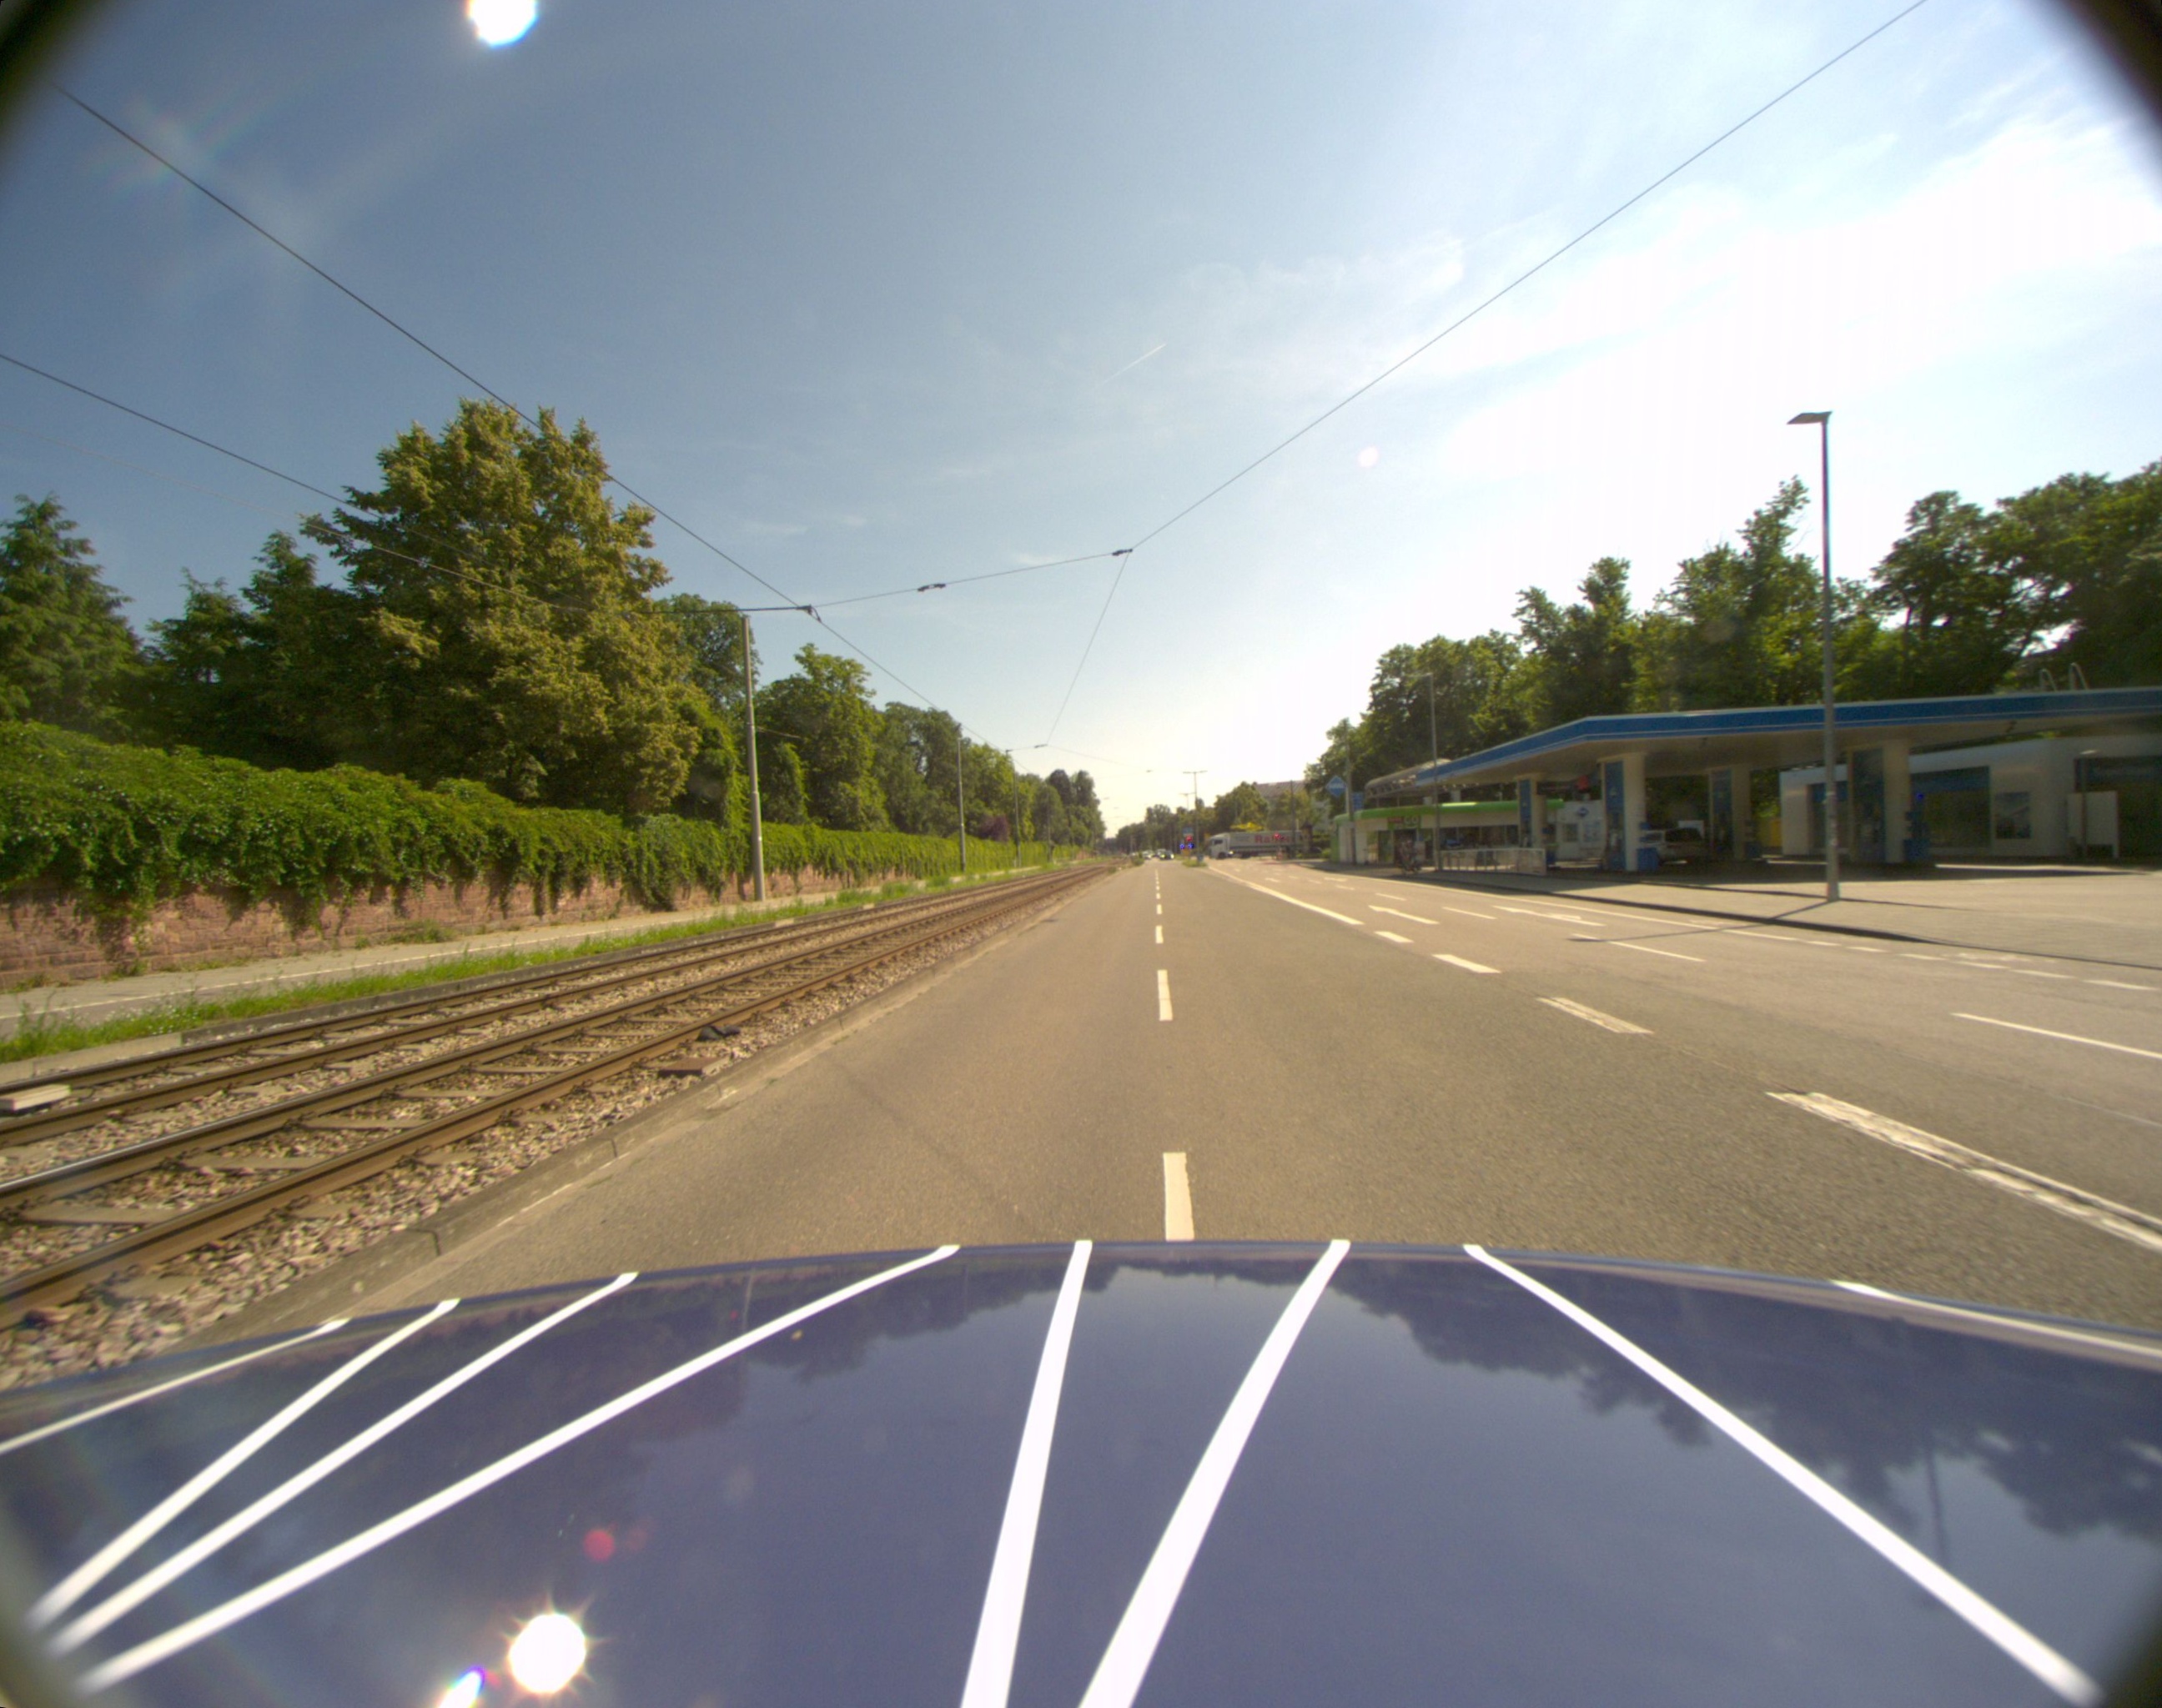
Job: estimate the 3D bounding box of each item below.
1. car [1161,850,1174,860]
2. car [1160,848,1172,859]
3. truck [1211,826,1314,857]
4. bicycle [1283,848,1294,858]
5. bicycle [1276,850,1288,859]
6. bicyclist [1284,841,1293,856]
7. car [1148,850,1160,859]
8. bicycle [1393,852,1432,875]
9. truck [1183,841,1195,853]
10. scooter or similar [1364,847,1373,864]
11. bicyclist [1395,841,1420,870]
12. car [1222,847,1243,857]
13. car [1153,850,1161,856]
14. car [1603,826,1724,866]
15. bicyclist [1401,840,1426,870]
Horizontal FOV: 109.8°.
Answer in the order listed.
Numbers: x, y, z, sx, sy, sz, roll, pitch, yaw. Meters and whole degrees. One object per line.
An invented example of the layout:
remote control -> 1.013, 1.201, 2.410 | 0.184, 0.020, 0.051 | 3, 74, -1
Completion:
car -> 14.351, 0.208, 126.222 | 1.755, 1.573, 4.505 | -2, 0, 1
car -> 19.729, -0.166, 176.481 | 2.264, 2.336, 5.231 | -3, 0, 4
truck -> 26.590, -1.862, 111.694 | 14.290, 3.984, 2.855 | -2, 1, 3
bicycle -> 24.569, -0.090, 89.843 | 0.939, 1.168, 2.212 | -2, 0, 8
bicycle -> 23.318, 0.032, 88.186 | 0.752, 1.051, 2.075 | -2, 0, -3
bicyclist -> 24.521, -0.611, 89.690 | 0.837, 1.664, 0.827 | -3, -1, 6
car -> 14.068, 0.144, 146.569 | 1.930, 1.593, 4.469 | -3, 0, 4
bicycle -> 16.737, 0.466, 38.450 | 0.827, 1.088, 2.773 | -4, 0, 4
truck -> 23.934, -1.487, 169.018 | 2.335, 2.652, 7.363 | -2, 0, 7
scooter or similar -> 21.209, 0.079, 56.062 | 0.442, 1.230, 1.347 | -2, 0, 16
bicyclist -> 16.808, 0.071, 39.134 | 0.849, 1.427, 0.833 | -3, -1, 2
car -> 24.727, -0.321, 124.106 | 1.756, 1.501, 4.394 | -2, -1, -11
car -> 20.023, -0.254, 199.854 | 1.930, 1.593, 4.469 | -3, 0, 3
car -> 28.708, -0.382, 37.776 | 1.848, 1.771, 5.966 | -2, 0, 5
bicyclist -> 16.758, 0.051, 38.281 | 0.849, 1.427, 0.833 | -3, -1, 3
